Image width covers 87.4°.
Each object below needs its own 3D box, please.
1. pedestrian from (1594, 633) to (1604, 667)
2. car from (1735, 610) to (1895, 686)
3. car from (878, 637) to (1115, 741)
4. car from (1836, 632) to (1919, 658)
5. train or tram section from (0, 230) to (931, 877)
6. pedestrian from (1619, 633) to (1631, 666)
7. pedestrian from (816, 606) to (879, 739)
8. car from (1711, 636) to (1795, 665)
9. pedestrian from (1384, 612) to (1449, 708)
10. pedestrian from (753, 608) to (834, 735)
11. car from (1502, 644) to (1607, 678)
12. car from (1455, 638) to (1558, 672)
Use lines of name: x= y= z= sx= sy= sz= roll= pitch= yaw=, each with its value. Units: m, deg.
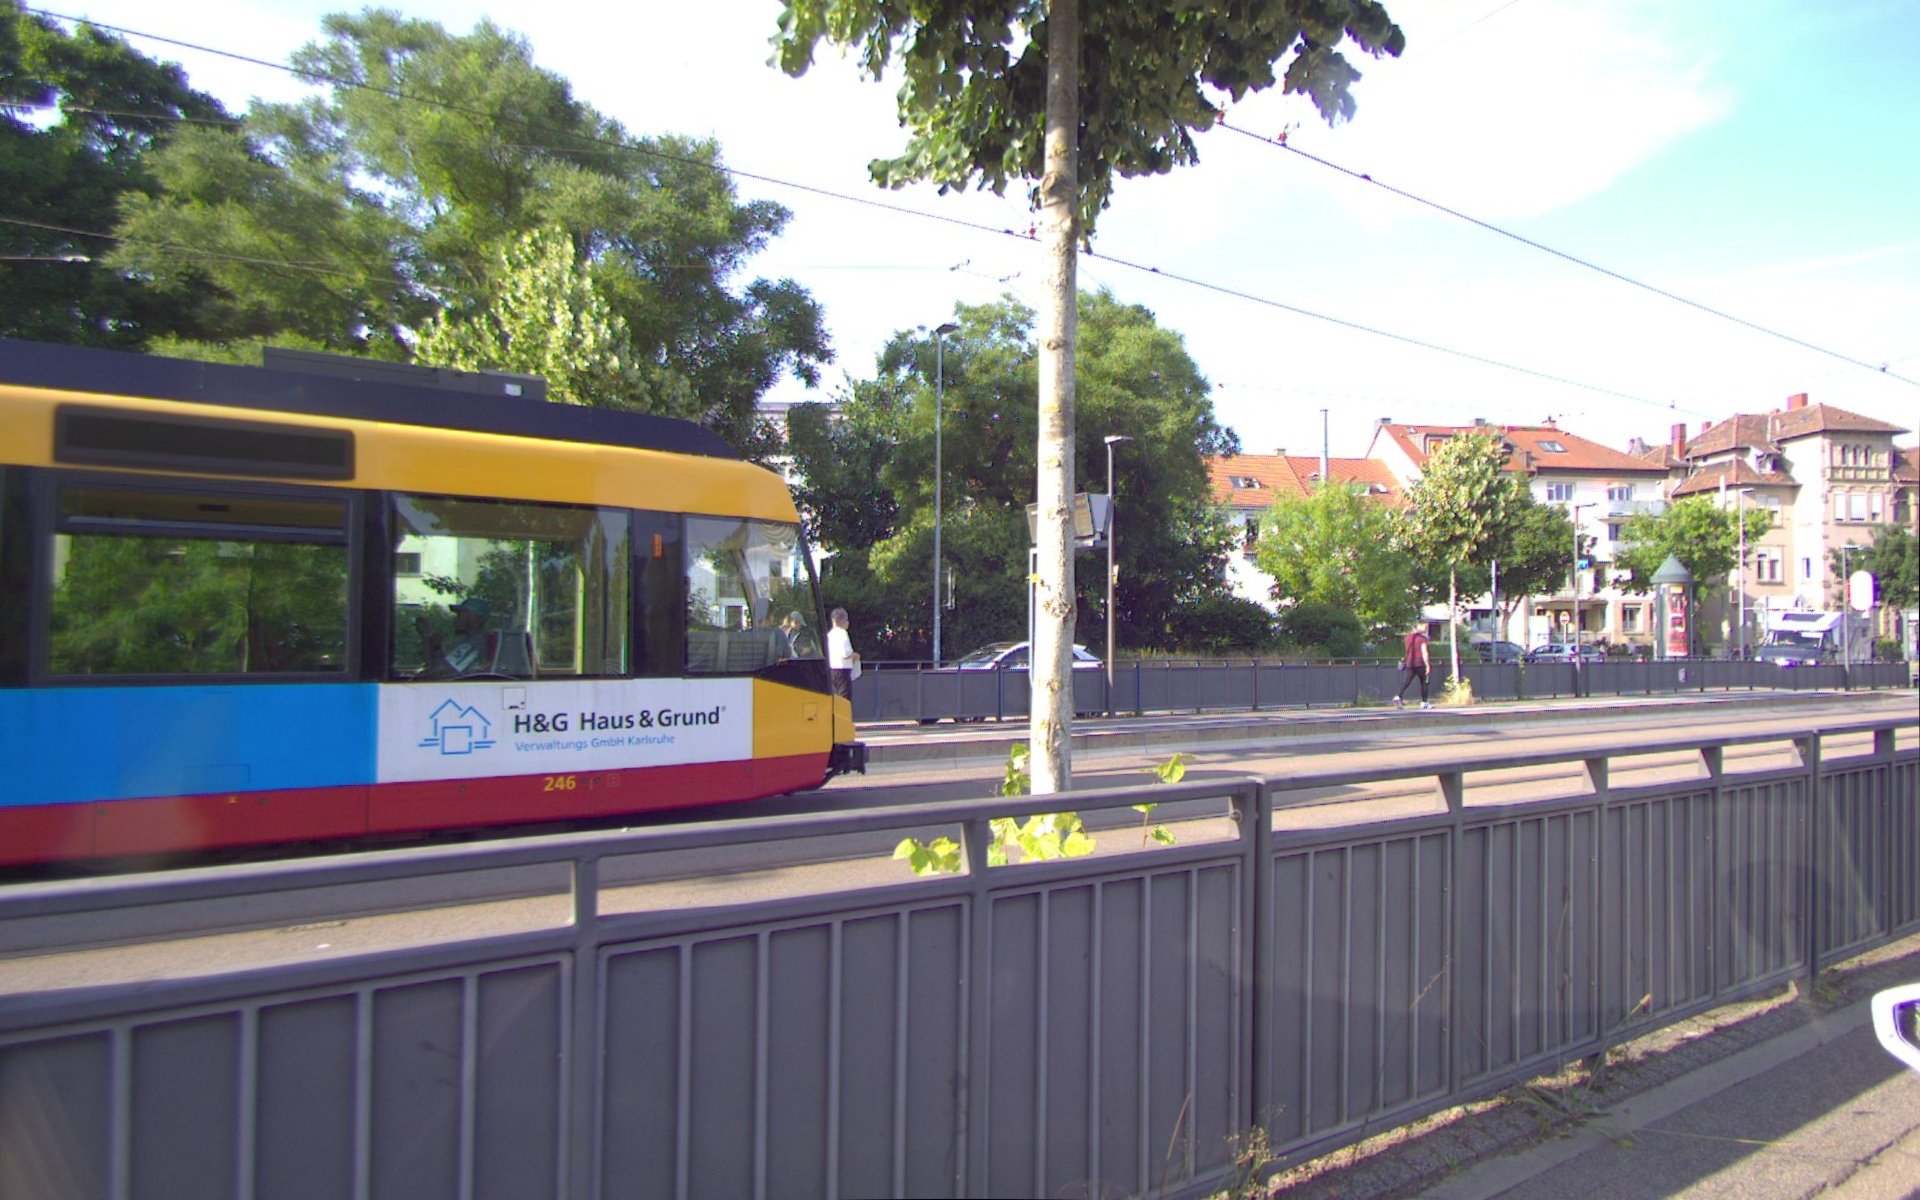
pedestrian: x=38.866 y=3.052 z=61.088 sx=0.400 sy=2.040 sz=0.383 roll=1 pitch=-1 yaw=-11
car: x=33.779 y=1.835 z=39.598 sx=7.382 sy=2.771 sz=2.584 roll=1 pitch=-1 yaw=-31
car: x=0.695 y=1.547 z=18.576 sx=3.955 sy=1.706 sz=1.983 roll=1 pitch=-1 yaw=-31
car: x=60.816 y=2.949 z=66.102 sx=4.628 sy=1.649 sz=2.209 roll=1 pitch=-1 yaw=-7
train or tram section: x=-7.189 y=-0.258 z=6.142 sx=14.302 sy=3.525 sz=3.147 roll=1 pitch=-1 yaw=-30
pedestrian: x=41.755 y=3.118 z=63.077 sx=0.426 sy=2.040 sz=0.421 roll=1 pitch=-1 yaw=-11
pedestrian: x=-1.453 y=0.925 z=12.940 sx=0.601 sy=1.663 sz=0.578 roll=1 pitch=-3 yaw=-34
car: x=51.565 y=3.285 z=65.406 sx=1.965 sy=1.773 sz=3.991 roll=1 pitch=-1 yaw=-12
pedestrian: x=8.640 y=1.117 z=19.020 sx=0.763 sy=1.756 sz=0.832 roll=1 pitch=-2 yaw=-29
pedestrian: x=-2.264 y=0.948 z=13.701 sx=0.656 sy=1.663 sz=0.859 roll=0 pitch=-1 yaw=44
car: x=27.658 y=2.808 z=46.870 sx=1.967 sy=1.416 sz=3.988 roll=1 pitch=-1 yaw=-15
car: x=25.056 y=2.498 z=46.193 sx=1.967 sy=1.416 sz=3.988 roll=1 pitch=-1 yaw=-15
